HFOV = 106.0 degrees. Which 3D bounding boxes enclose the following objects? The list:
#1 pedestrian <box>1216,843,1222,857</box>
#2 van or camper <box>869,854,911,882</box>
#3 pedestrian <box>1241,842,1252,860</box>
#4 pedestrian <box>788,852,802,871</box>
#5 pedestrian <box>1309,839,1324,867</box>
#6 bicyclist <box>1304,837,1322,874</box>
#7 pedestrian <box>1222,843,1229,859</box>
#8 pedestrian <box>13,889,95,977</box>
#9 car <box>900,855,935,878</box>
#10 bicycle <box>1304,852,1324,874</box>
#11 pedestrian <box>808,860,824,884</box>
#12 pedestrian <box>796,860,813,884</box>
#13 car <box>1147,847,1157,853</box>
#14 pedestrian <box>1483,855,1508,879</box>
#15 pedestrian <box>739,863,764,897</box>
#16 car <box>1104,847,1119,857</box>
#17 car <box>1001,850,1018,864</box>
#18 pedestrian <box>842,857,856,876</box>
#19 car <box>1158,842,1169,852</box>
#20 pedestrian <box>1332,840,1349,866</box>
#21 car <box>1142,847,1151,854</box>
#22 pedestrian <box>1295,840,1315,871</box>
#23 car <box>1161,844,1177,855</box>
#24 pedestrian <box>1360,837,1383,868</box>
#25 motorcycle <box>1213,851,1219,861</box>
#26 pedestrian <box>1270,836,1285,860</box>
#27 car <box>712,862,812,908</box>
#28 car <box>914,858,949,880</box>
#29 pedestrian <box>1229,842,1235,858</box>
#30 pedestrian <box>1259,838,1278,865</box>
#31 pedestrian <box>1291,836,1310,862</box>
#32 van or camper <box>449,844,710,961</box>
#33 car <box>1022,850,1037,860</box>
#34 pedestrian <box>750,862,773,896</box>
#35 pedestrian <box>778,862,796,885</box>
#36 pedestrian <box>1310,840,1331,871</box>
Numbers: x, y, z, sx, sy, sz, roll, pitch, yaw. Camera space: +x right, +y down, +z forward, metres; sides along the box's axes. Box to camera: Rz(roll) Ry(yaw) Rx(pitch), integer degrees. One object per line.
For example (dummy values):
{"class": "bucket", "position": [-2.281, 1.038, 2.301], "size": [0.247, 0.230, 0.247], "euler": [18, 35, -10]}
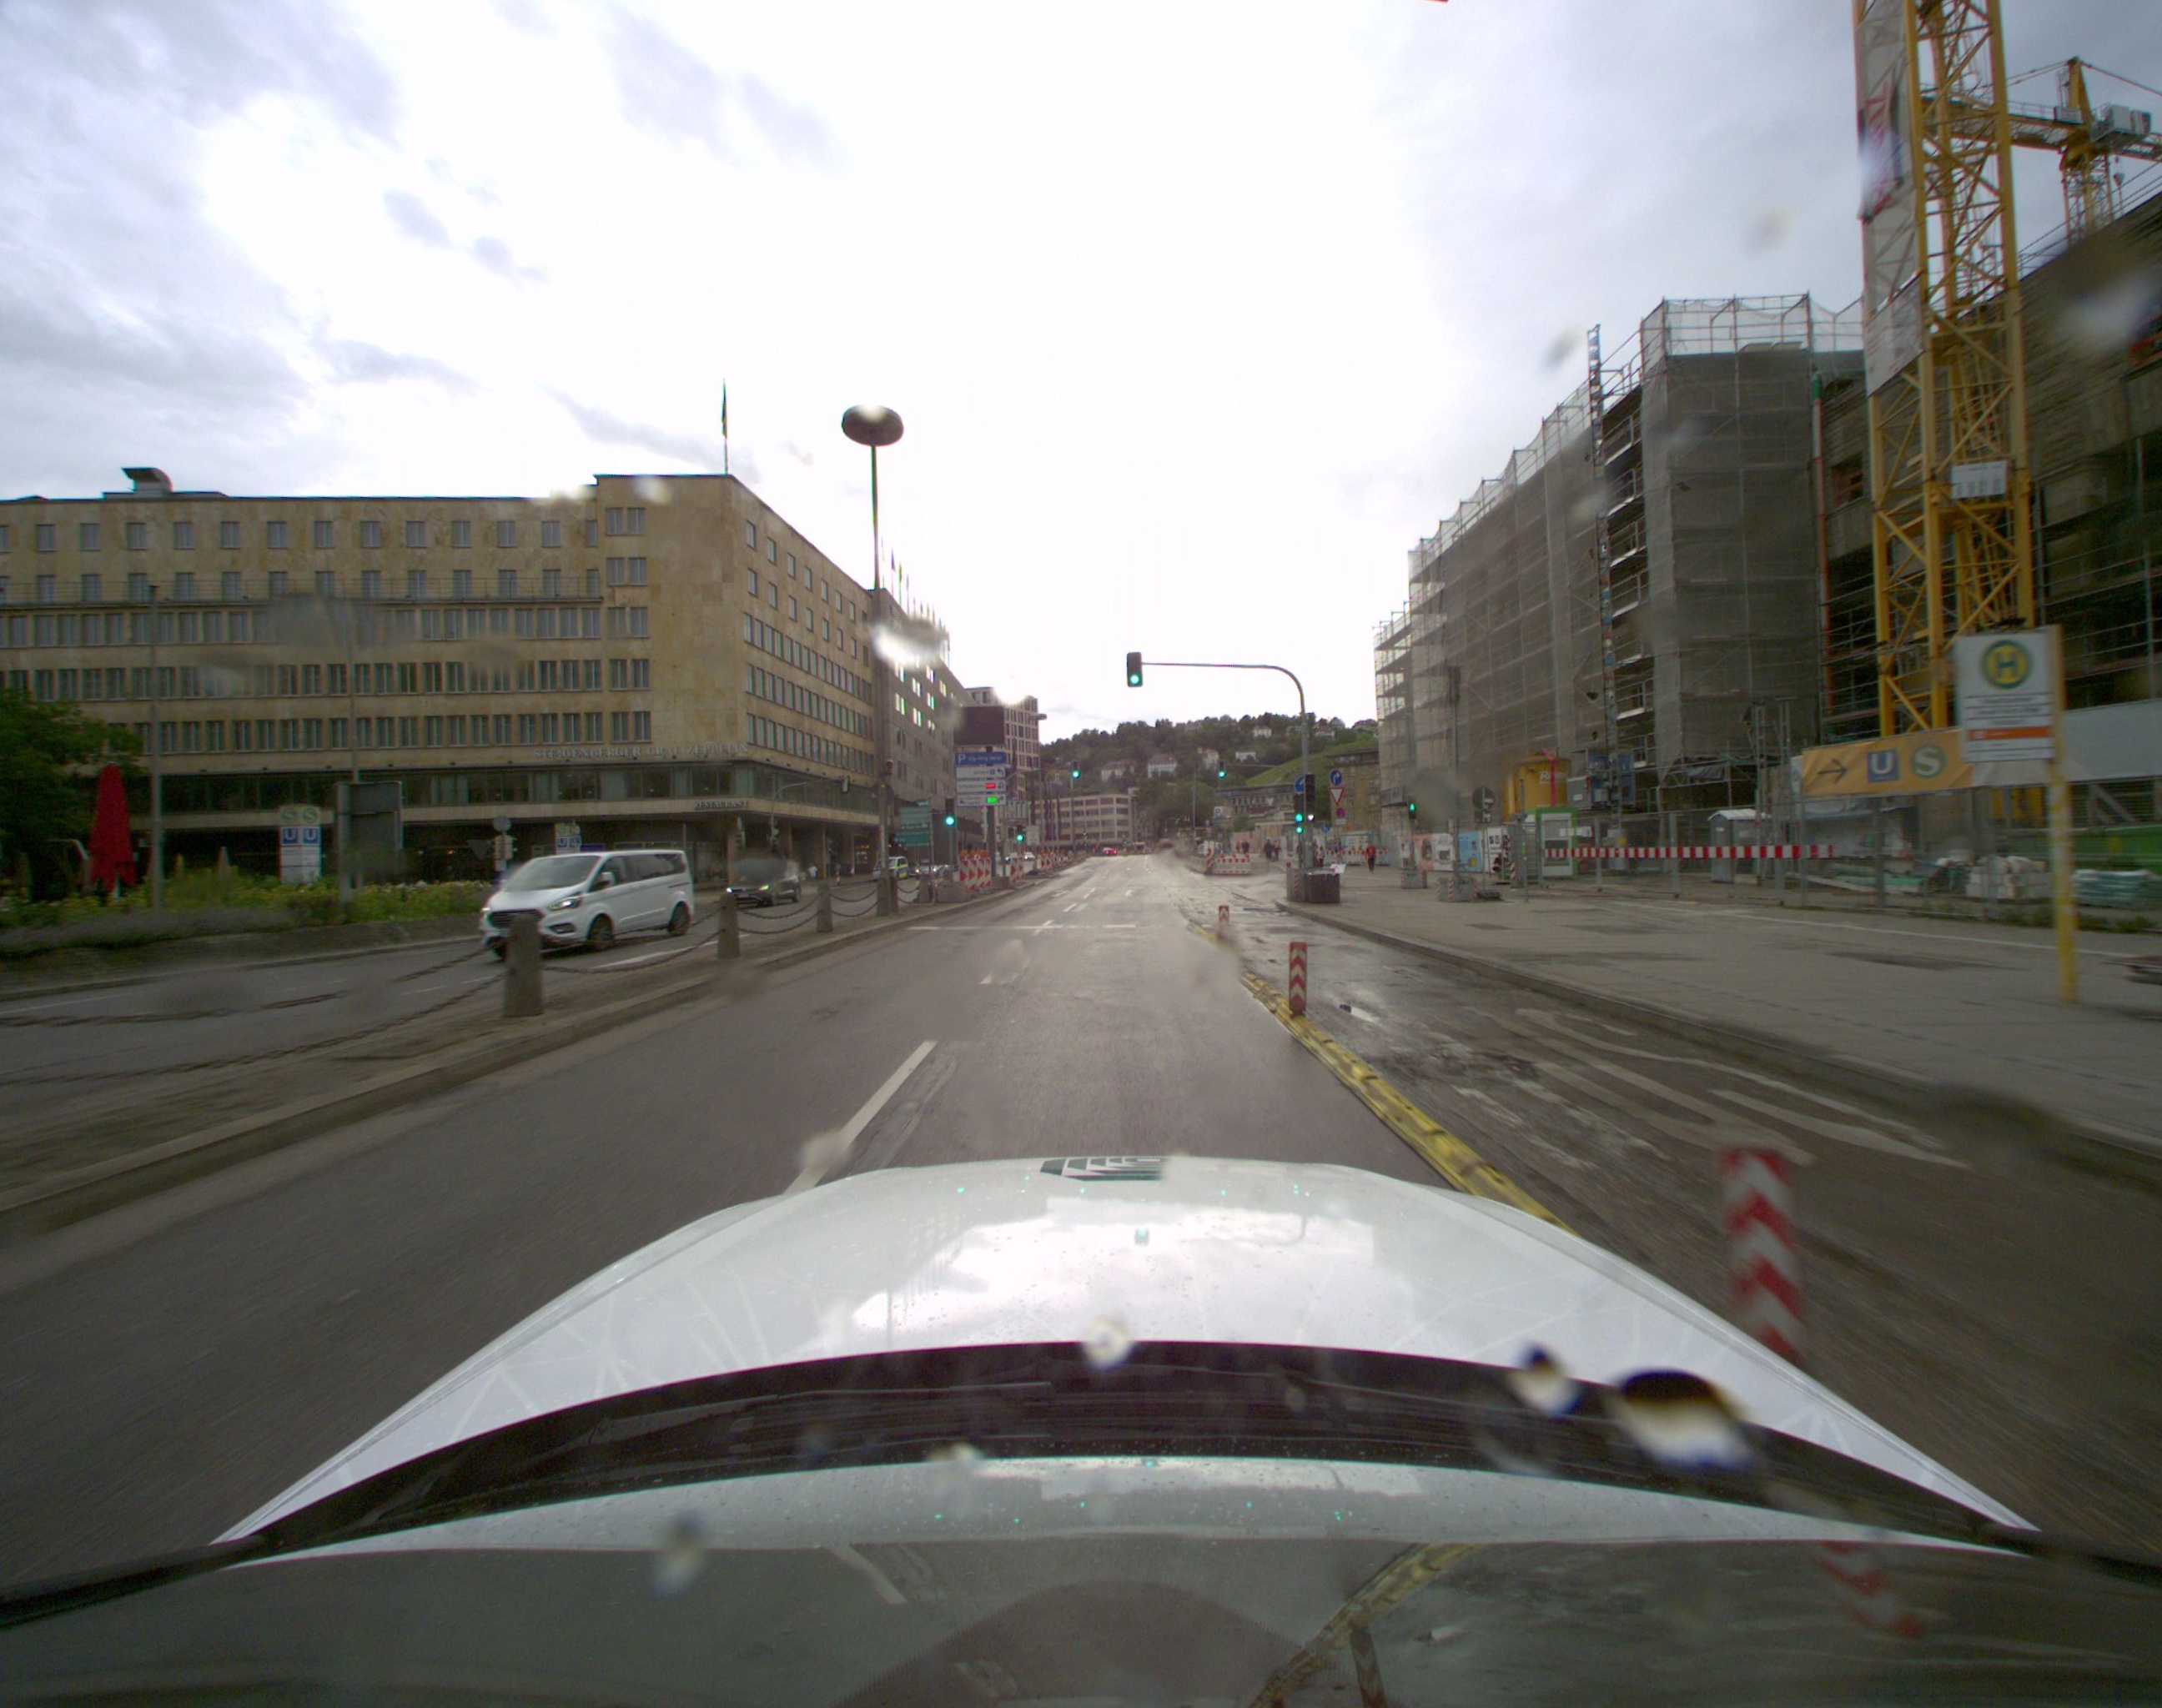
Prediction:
{"class": "pedestrian", "position": [18.648, -0.489, 109.814], "size": [0.684, 1.841, 0.616], "euler": [-2, 0, 7]}
{"class": "van or camper", "position": [-15.221, 1.076, 65.212], "size": [1.986, 2.013, 4.968], "euler": [-2, 0, 2]}
{"class": "pedestrian", "position": [17.342, -0.353, 85.306], "size": [0.941, 1.841, 0.869], "euler": [-2, 0, 8]}
{"class": "pedestrian", "position": [-24.057, 0.616, 68.515], "size": [0.791, 1.526, 0.717], "euler": [-2, 0, 4]}
{"class": "pedestrian", "position": [16.045, -0.054, 55.422], "size": [0.859, 1.841, 0.800], "euler": [-3, 0, 12]}
{"class": "bicyclist", "position": [11.788, 0.054, 41.315], "size": [0.699, 1.845, 0.970], "euler": [-1, 0, 7]}
{"class": "pedestrian", "position": [16.952, -0.382, 95.592], "size": [0.684, 1.841, 0.616], "euler": [-2, 0, 7]}
{"class": "pedestrian", "position": [-21.539, 1.637, 17.092], "size": [0.663, 1.734, 0.795], "euler": [-3, 0, 7]}
{"class": "car", "position": [-14.302, 1.094, 71.611], "size": [1.985, 1.838, 4.003], "euler": [-3, 0, 3]}
{"class": "bicycle", "position": [11.795, 0.455, 41.228], "size": [0.703, 1.049, 1.810], "euler": [-1, 1, 7]}
{"class": "pedestrian", "position": [-18.217, 1.230, 55.966], "size": [0.718, 1.557, 0.896], "euler": [-2, 0, 4]}
{"class": "pedestrian", "position": [-19.022, 1.233, 56.044], "size": [0.718, 1.557, 0.906], "euler": [-2, 0, 4]}
{"class": "car", "position": [17.237, -0.884, 197.753], "size": [1.986, 1.442, 4.001], "euler": [-1, 0, 1]}
{"class": "pedestrian", "position": [16.646, 0.523, 32.744], "size": [0.788, 0.940, 0.721], "euler": [-3, 0, 21]}
{"class": "pedestrian", "position": [-16.437, 1.301, 40.644], "size": [0.827, 1.672, 0.706], "euler": [-3, 0, 15]}
{"class": "car", "position": [5.524, -0.360, 149.362], "size": [1.993, 1.552, 3.988], "euler": [-2, 0, -9]}
{"class": "car", "position": [-11.143, 0.456, 126.782], "size": [1.985, 2.013, 4.003], "euler": [-3, 0, 3]}
{"class": "pedestrian", "position": [-19.401, 1.048, 68.108], "size": [0.791, 1.526, 0.917], "euler": [-2, 0, 4]}
{"class": "car", "position": [15.389, -1.302, 152.635], "size": [1.768, 1.639, 4.004], "euler": [-3, -1, 3]}
{"class": "pedestrian", "position": [17.106, -0.094, 53.684], "size": [0.860, 1.661, 0.798], "euler": [-2, 0, 5]}
{"class": "car", "position": [14.829, -0.813, 184.452], "size": [1.813, 1.442, 4.001], "euler": [-1, 0, 1]}
{"class": "pedestrian", "position": [12.138, 0.080, 44.071], "size": [0.787, 1.608, 0.841], "euler": [-3, 0, 31]}
{"class": "car", "position": [13.584, -0.683, 125.627], "size": [1.986, 1.706, 4.001], "euler": [-2, 0, 1]}
{"class": "pedestrian", "position": [15.670, -0.065, 43.898], "size": [0.768, 1.608, 0.860], "euler": [-2, 0, -12]}
{"class": "motorcycle", "position": [9.728, 0.139, 58.748], "size": [0.369, 0.722, 0.923], "euler": [-1, 0, 5]}
{"class": "pedestrian", "position": [15.754, -0.492, 65.352], "size": [0.943, 1.841, 0.867], "euler": [-2, 0, -1]}
{"class": "car", "position": [-12.823, 1.194, 33.101], "size": [1.985, 1.617, 4.580], "euler": [-2, 0, 3]}
{"class": "car", "position": [-11.835, 1.186, 64.760], "size": [1.761, 1.609, 4.229], "euler": [-2, 0, 3]}
{"class": "pedestrian", "position": [17.711, -0.437, 95.538], "size": [0.684, 1.841, 0.616], "euler": [-2, 0, 7]}
{"class": "pedestrian", "position": [12.993, -0.184, 56.523], "size": [0.937, 1.841, 0.953], "euler": [-3, -1, 33]}
{"class": "pedestrian", "position": [15.902, -0.382, 59.034], "size": [0.955, 1.841, 0.856], "euler": [-2, -1, -45]}
{"class": "van or camper", "position": [-10.126, 0.873, 17.105], "size": [1.985, 2.013, 5.193], "euler": [-2, 0, 3]}
{"class": "car", "position": [-8.951, 0.140, 141.974], "size": [1.985, 1.618, 4.003], "euler": [-3, 0, 3]}
{"class": "pedestrian", "position": [-16.262, 1.267, 41.484], "size": [0.752, 1.672, 0.700], "euler": [-3, 0, 15]}
{"class": "pedestrian", "position": [-20.263, 1.332, 56.139], "size": [0.718, 1.557, 1.006], "euler": [-2, 0, 4]}
{"class": "pedestrian", "position": [12.828, 0.064, 43.640], "size": [0.787, 1.608, 0.841], "euler": [-3, 0, 31]}
